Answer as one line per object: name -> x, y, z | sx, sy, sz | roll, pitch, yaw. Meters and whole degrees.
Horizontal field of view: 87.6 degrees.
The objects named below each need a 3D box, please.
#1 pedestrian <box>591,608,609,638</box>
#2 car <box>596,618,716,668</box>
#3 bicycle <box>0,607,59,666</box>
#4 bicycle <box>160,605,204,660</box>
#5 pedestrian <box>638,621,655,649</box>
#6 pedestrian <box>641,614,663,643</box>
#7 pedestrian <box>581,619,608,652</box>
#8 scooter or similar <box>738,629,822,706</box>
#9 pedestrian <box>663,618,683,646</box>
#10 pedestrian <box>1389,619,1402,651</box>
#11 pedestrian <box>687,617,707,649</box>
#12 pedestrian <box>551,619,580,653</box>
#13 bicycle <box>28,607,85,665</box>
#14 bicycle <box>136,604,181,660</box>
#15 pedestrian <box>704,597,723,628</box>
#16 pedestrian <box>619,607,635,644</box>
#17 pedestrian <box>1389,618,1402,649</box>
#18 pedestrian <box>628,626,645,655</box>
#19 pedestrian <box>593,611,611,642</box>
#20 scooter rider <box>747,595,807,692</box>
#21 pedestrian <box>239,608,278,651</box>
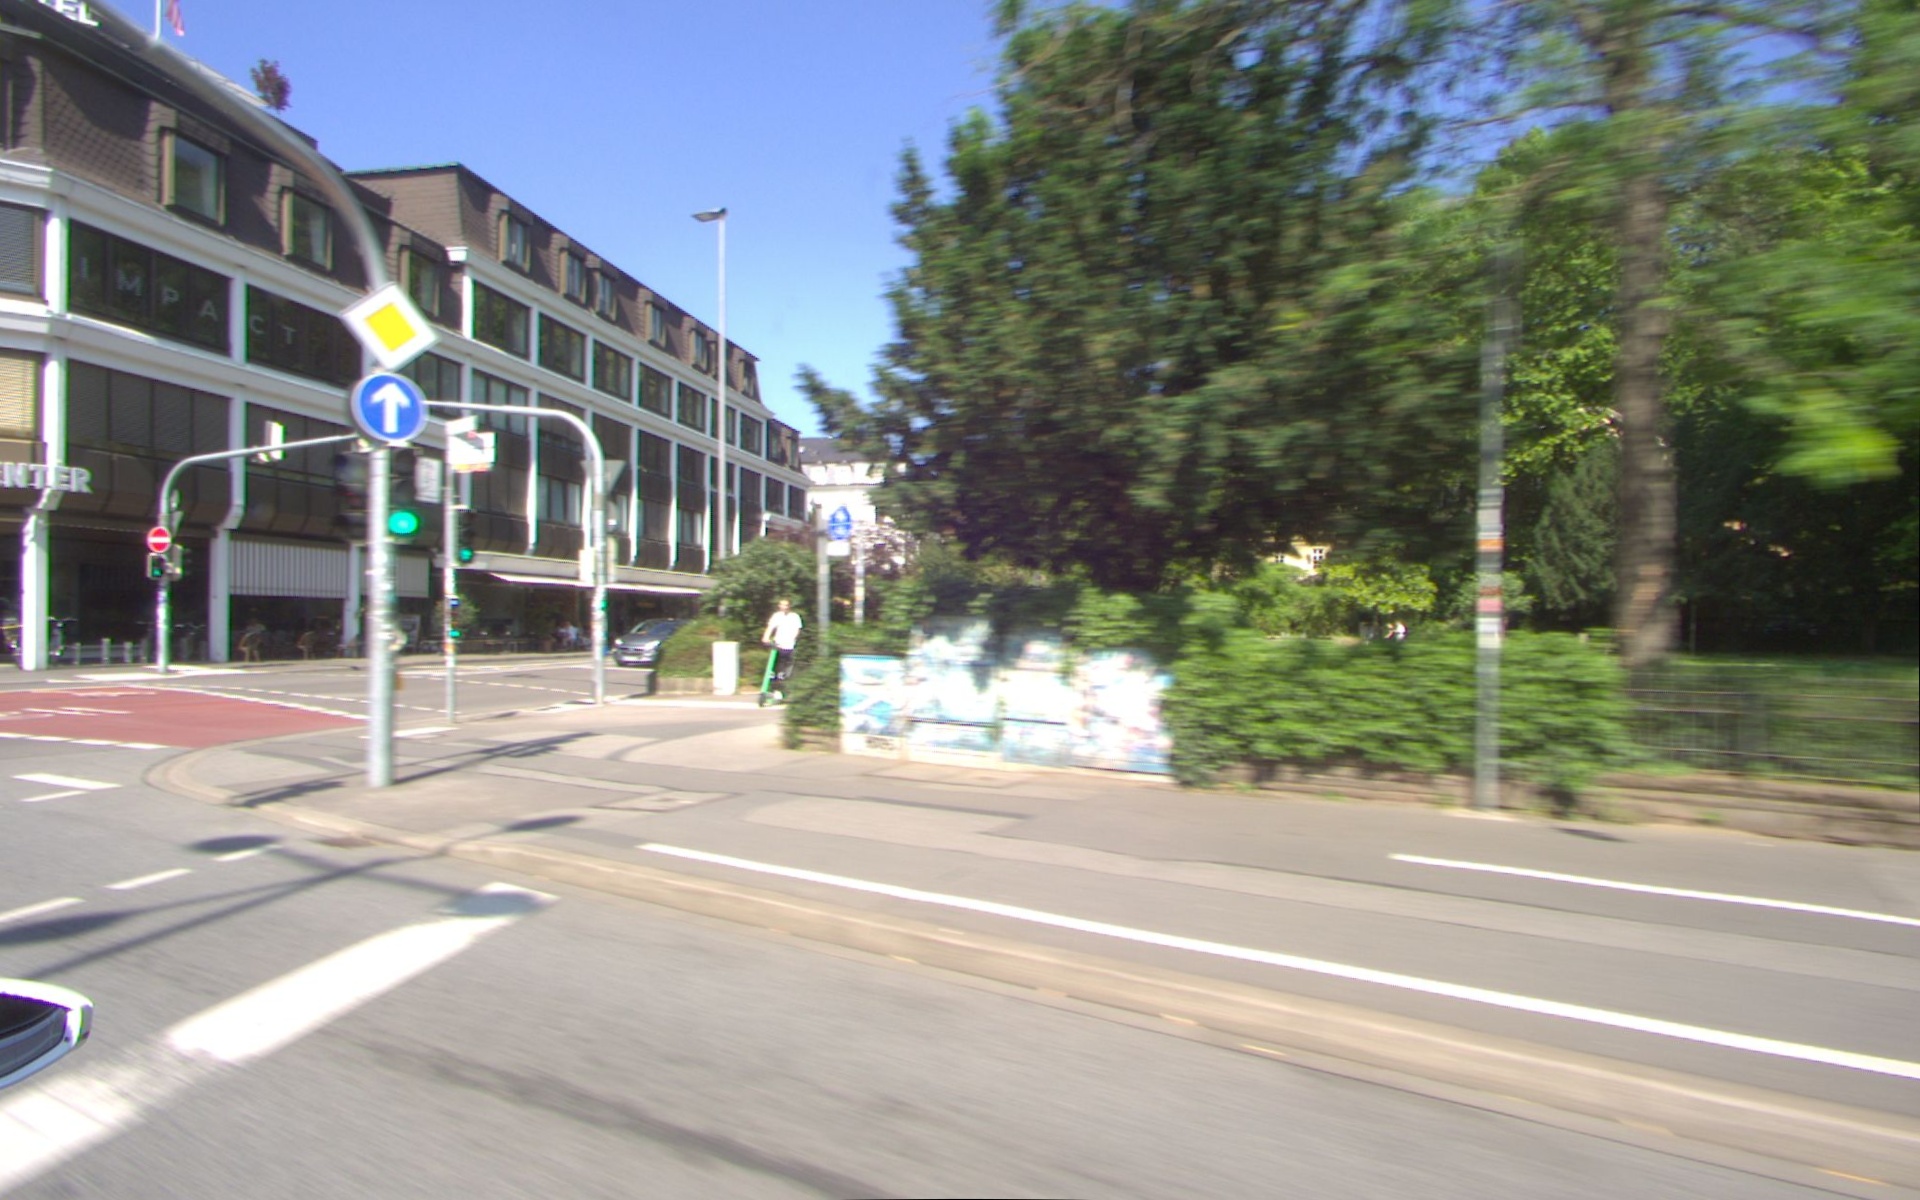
pedestrian -> -16.829, 1.078, 46.813 | 0.562, 1.411, 0.569 | 1, 0, 12
car -> -9.454, 1.302, 31.513 | 1.824, 1.381, 4.095 | 2, -1, 12
bicycle -> -22.613, 0.866, 24.327 | 0.523, 1.334, 1.958 | 1, 0, -26
bicycle -> -21.176, 0.865, 27.284 | 0.523, 1.441, 1.958 | 1, 0, -26
pedestrian -> -15.687, 1.740, 50.082 | 0.562, 1.411, 0.569 | 1, 0, 12
pedestrian -> -15.222, 1.392, 49.495 | 0.743, 1.411, 0.716 | 1, 0, 12
pedestrian -> -16.214, 1.562, 44.430 | 0.743, 1.411, 0.928 | 1, 0, 12
scooter or similar -> -3.216, 1.185, 18.065 | 0.806, 1.315, 1.694 | -1, -1, 16
pedestrian -> -15.140, 1.683, 52.827 | 0.743, 1.411, 0.716 | 1, 0, 12
pedestrian -> 23.763, 1.893, 54.640 | 0.677, 1.705, 0.660 | 0, -1, 23
pedestrian -> -13.482, 1.672, 51.331 | 0.605, 1.633, 0.873 | 1, 0, 12
pedestrian -> -16.744, 1.527, 42.467 | 0.743, 1.411, 0.928 | 1, 0, 12
bicycle -> -22.176, 0.866, 24.614 | 0.523, 1.334, 1.851 | 1, 0, -26
bicycle -> -21.849, 0.850, 27.331 | 0.523, 1.441, 1.958 | 1, 0, -26
pedestrian -> -14.000, 0.730, 56.872 | 0.743, 1.751, 0.797 | 1, 0, 12
pedestrian -> -16.263, 1.245, 48.895 | 0.576, 1.780, 0.486 | 1, 0, 12
pedestrian -> 24.073, 1.871, 55.369 | 0.677, 1.705, 0.660 | 0, -1, 23
pedestrian -> -15.982, 1.990, 49.417 | 0.562, 1.411, 0.569 | 1, 0, 12
pedestrian -> -16.814, 1.236, 46.972 | 0.562, 1.411, 0.569 | 1, 0, 12
scooter rider -> -3.270, 0.775, 17.885 | 0.809, 1.693, 0.708 | -1, 0, 17
pedestrian -> -22.261, 0.941, 31.780 | 0.816, 1.352, 0.968 | 1, -1, -24
